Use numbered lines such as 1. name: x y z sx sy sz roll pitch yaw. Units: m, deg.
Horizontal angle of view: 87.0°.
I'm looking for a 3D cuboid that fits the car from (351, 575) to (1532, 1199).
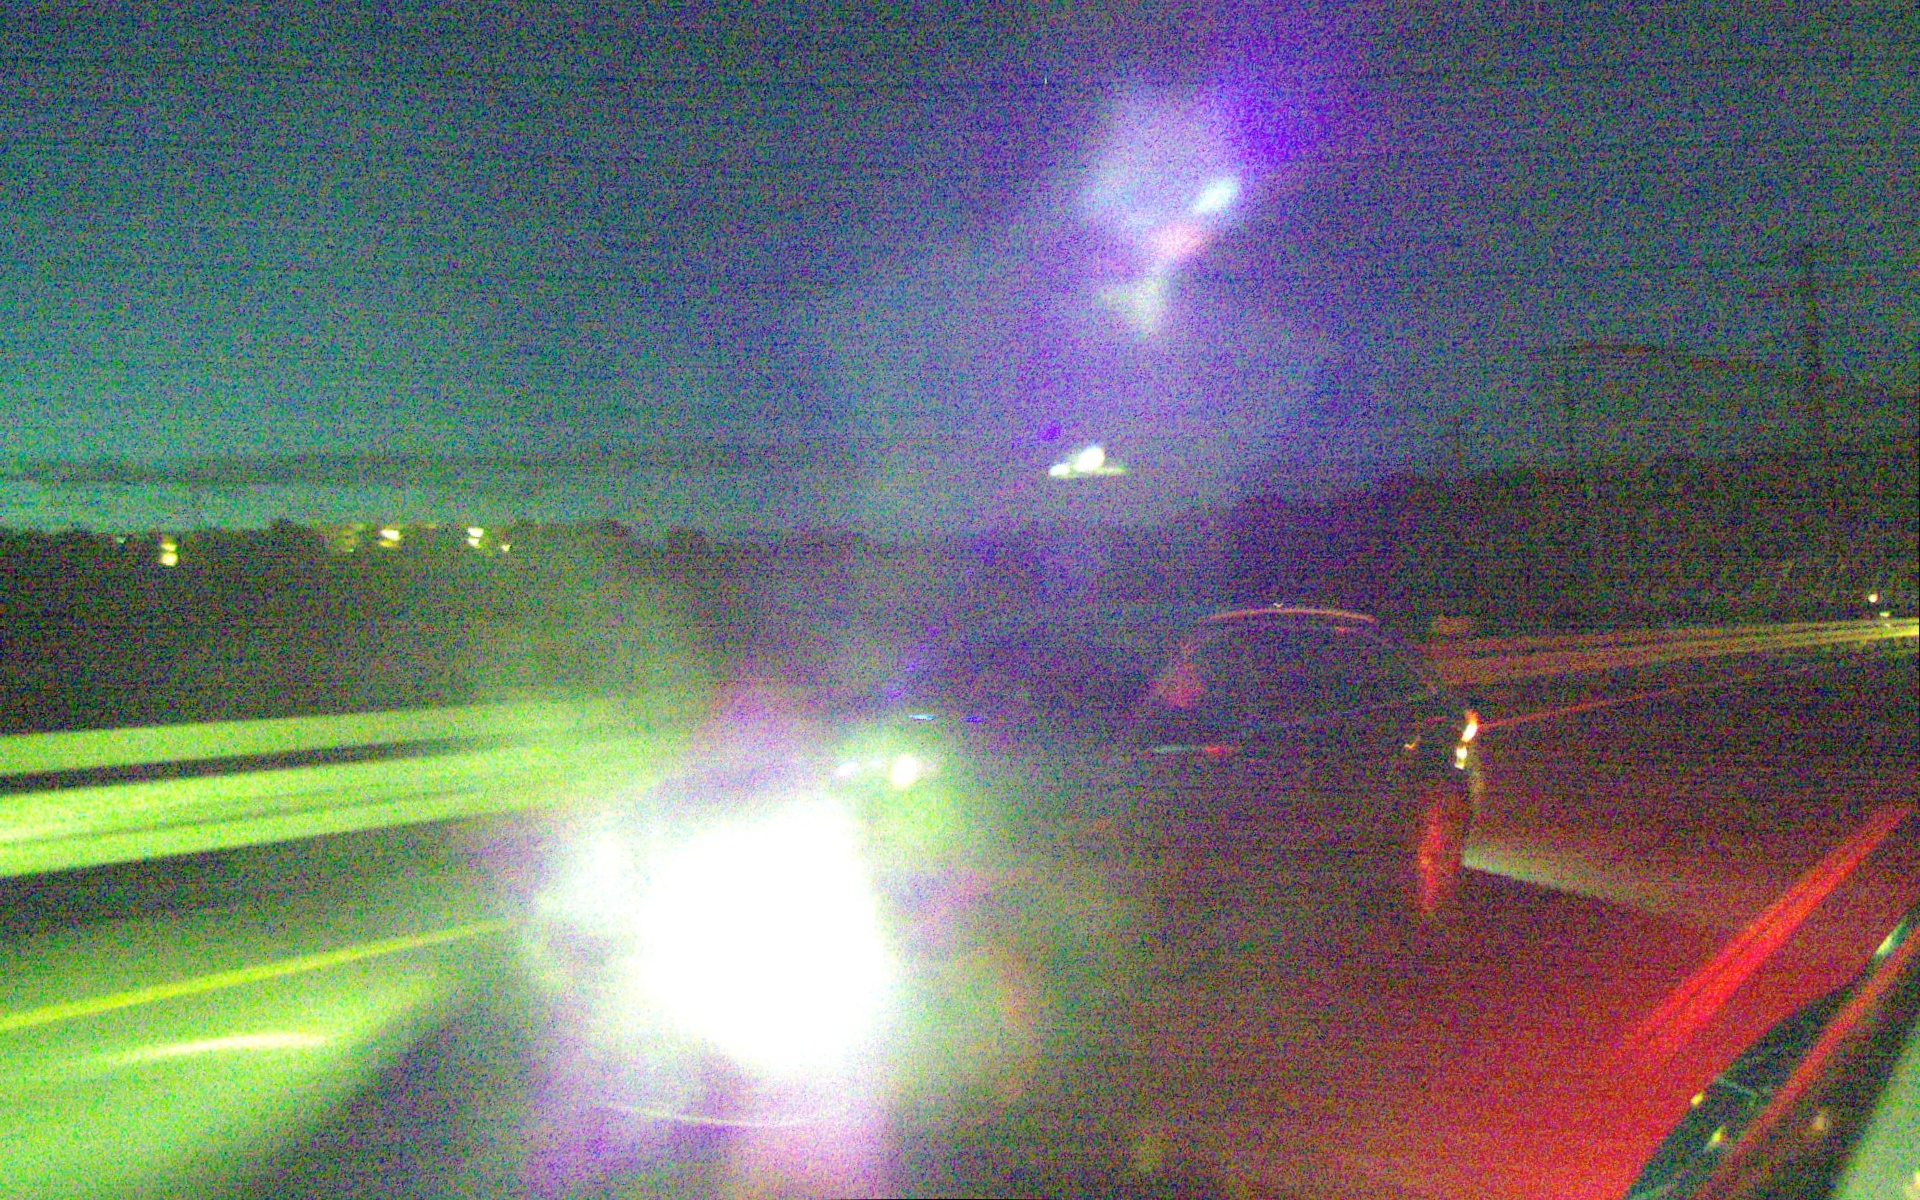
1. car: 0.370 0.678 4.209 4.786 1.444 1.813 0 2 -38
